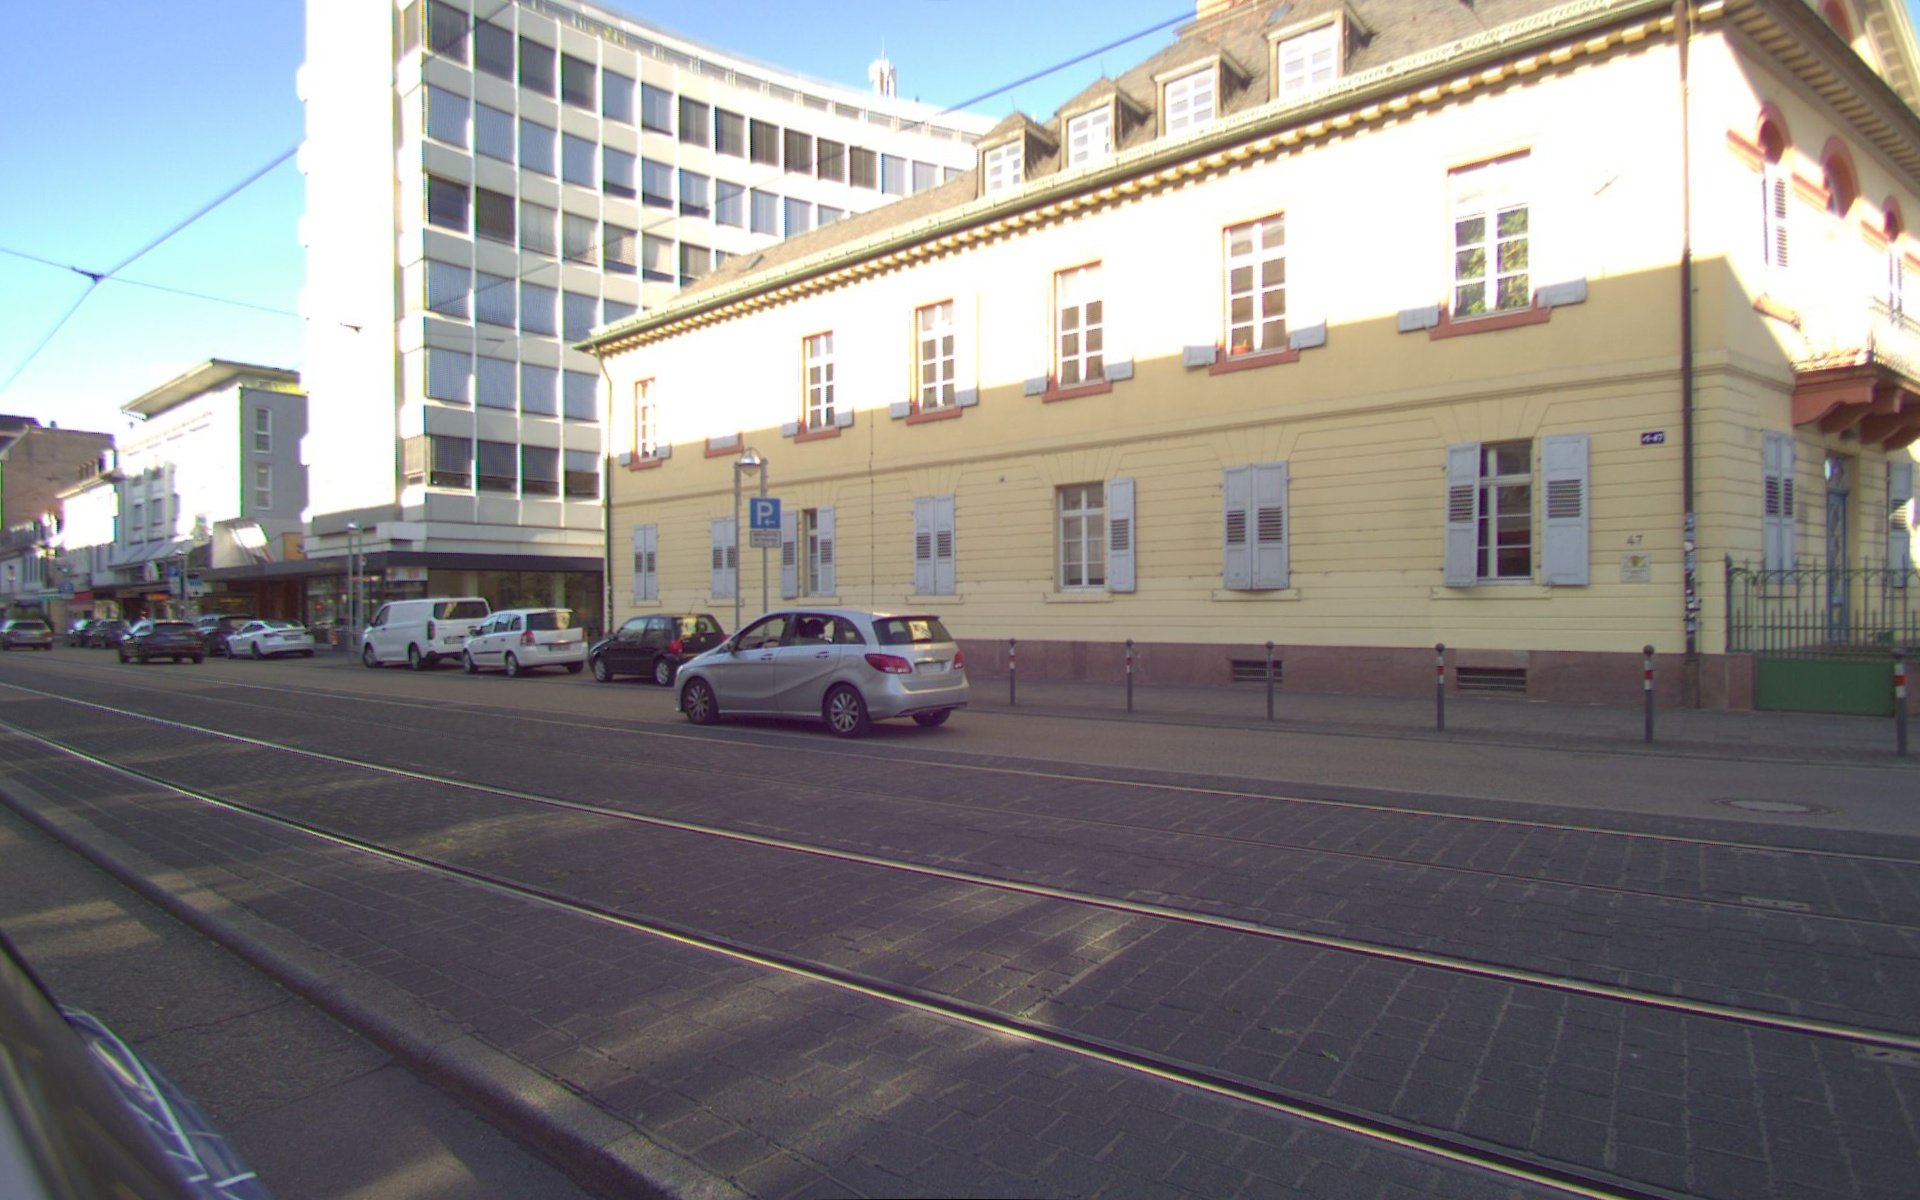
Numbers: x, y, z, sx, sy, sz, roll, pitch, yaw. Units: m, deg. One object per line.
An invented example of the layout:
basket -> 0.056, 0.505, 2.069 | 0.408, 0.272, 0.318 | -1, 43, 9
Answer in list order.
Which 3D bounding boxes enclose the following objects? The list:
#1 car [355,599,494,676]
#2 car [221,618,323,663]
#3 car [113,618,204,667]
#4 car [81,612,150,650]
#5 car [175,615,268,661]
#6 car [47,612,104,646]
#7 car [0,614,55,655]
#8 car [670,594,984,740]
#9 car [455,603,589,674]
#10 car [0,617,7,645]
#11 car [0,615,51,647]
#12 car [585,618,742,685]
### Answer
car -> -15.394, 1.038, 28.983 | 4.619, 2.029, 2.014 | -2, -1, 41
car -> -25.628, 1.460, 37.635 | 4.369, 1.541, 1.974 | -1, 0, 39
car -> -27.307, 1.392, 34.436 | 4.001, 1.519, 1.937 | -1, 0, 44
car -> -43.880, 1.596, 52.551 | 3.995, 1.874, 1.974 | -1, 0, 38
car -> -29.915, 1.507, 40.969 | 4.103, 1.717, 1.975 | -1, 0, 38
car -> -50.575, 1.642, 57.828 | 3.995, 1.896, 1.768 | -1, -1, 38
car -> -46.394, 1.660, 49.978 | 3.851, 1.908, 1.891 | -1, 0, 38
car -> -1.807, 0.777, 13.084 | 3.994, 1.609, 1.739 | -1, -1, 38
car -> -11.007, 0.900, 25.331 | 4.005, 1.621, 1.619 | -1, 0, 43
car -> -71.408, 2.283, 74.134 | 3.998, 2.029, 1.973 | -2, -1, 41
car -> -63.197, 2.088, 68.278 | 3.996, 2.058, 2.172 | -1, -1, 39
car -> -6.325, 1.037, 21.496 | 3.210, 1.263, 1.667 | -1, 0, 39
